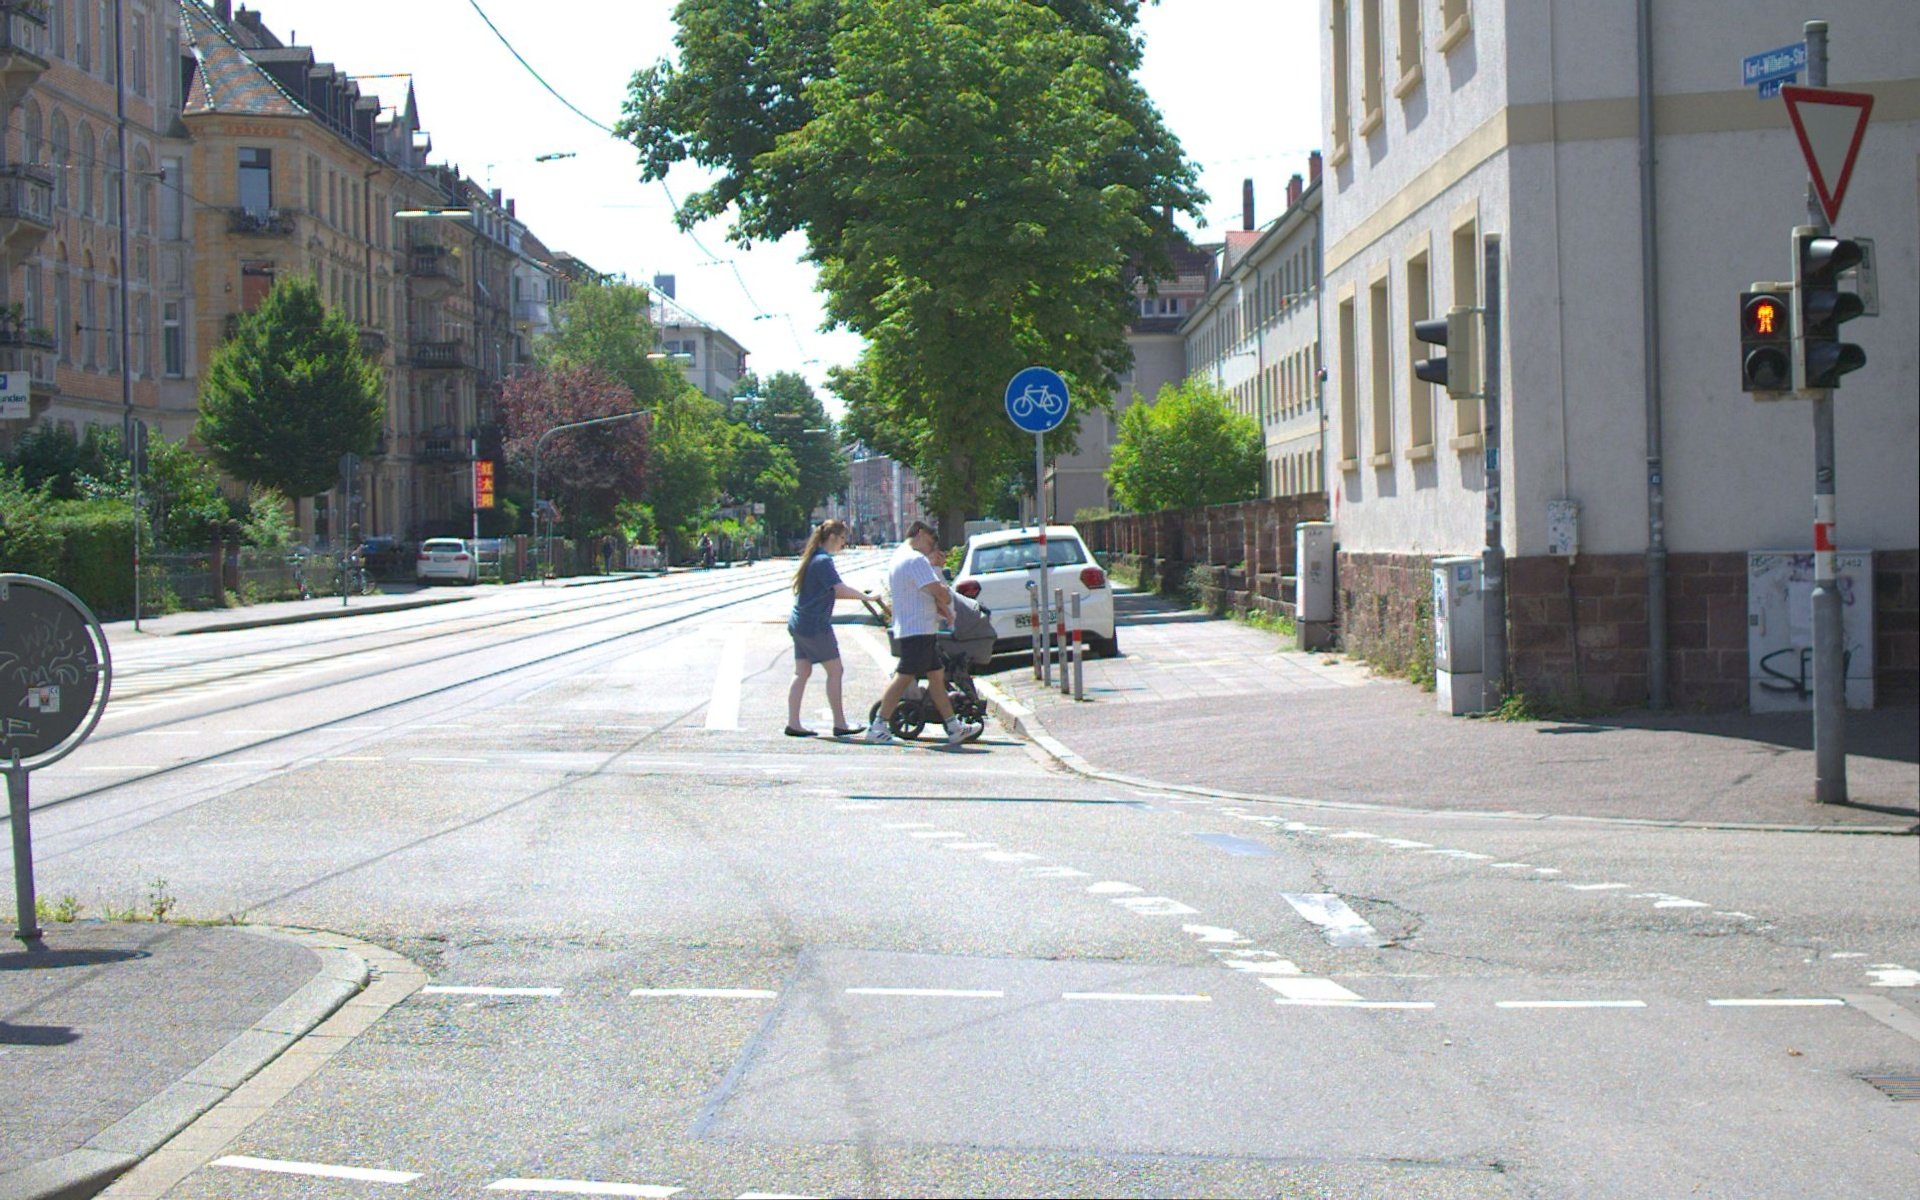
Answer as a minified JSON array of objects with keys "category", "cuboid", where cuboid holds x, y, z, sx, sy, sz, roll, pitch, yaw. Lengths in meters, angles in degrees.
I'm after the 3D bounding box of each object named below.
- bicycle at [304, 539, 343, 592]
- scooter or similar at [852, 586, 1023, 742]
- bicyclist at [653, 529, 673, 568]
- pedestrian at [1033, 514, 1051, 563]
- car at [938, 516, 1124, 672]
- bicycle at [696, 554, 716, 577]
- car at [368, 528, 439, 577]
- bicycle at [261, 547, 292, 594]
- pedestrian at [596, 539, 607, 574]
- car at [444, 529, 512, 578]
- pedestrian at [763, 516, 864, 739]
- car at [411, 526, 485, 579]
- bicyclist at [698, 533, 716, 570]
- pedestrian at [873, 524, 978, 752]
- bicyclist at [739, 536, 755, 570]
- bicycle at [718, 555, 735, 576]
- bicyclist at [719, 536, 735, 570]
[{"category":"bicycle","cuboid":[-15.668,-0.853,84.671,0.677,1.274,1.919,-1,1,-3]},{"category":"scooter or similar","cuboid":[-0.174,0.479,25.889,1.201,1.151,0.559,1,0,-9]},{"category":"bicyclist","cuboid":[-12.299,-2.126,142.407,0.727,1.623,1.079,1,0,1]},{"category":"pedestrian","cuboid":[2.667,-1.998,111.515,0.521,1.557,0.573,-1,1,-1]},{"category":"car","cuboid":[0.716,-0.084,37.328,1.815,1.511,4.000,-3,1,-1]},{"category":"bicycle","cuboid":[-12.096,-1.643,163.992,0.727,1.119,2.085,1,1,1]},{"category":"car","cuboid":[-20.027,-1.706,123.905,1.919,1.709,4.000,1,1,-1]},{"category":"bicycle","cuboid":[-15.911,-0.702,80.028,0.677,1.061,1.919,-1,1,-11]},{"category":"pedestrian","cuboid":[-15.082,-1.849,144.675,0.406,1.456,0.436,-1,1,-1]},{"category":"car","cuboid":[-17.341,-1.669,123.831,1.919,1.709,4.000,1,1,-1]},{"category":"pedestrian","cuboid":[-1.096,0.201,25.694,0.675,1.640,0.559,1,0,-9]},{"category":"car","cuboid":[-17.197,-1.583,115.567,1.919,1.709,4.000,1,1,-1]},{"category":"bicyclist","cuboid":[-12.073,-2.305,164.014,0.727,1.762,1.079,1,0,1]},{"category":"pedestrian","cuboid":[-0.254,0.275,25.071,0.675,1.640,0.559,1,0,-9]},{"category":"bicyclist","cuboid":[-11.370,-2.495,183.824,0.727,1.812,1.079,1,0,1]},{"category":"bicycle","cuboid":[-12.490,-1.850,184.054,0.727,1.119,2.085,1,1,1]},{"category":"bicyclist","cuboid":[-12.477,-2.509,184.033,0.727,1.812,1.079,1,0,1]}]
